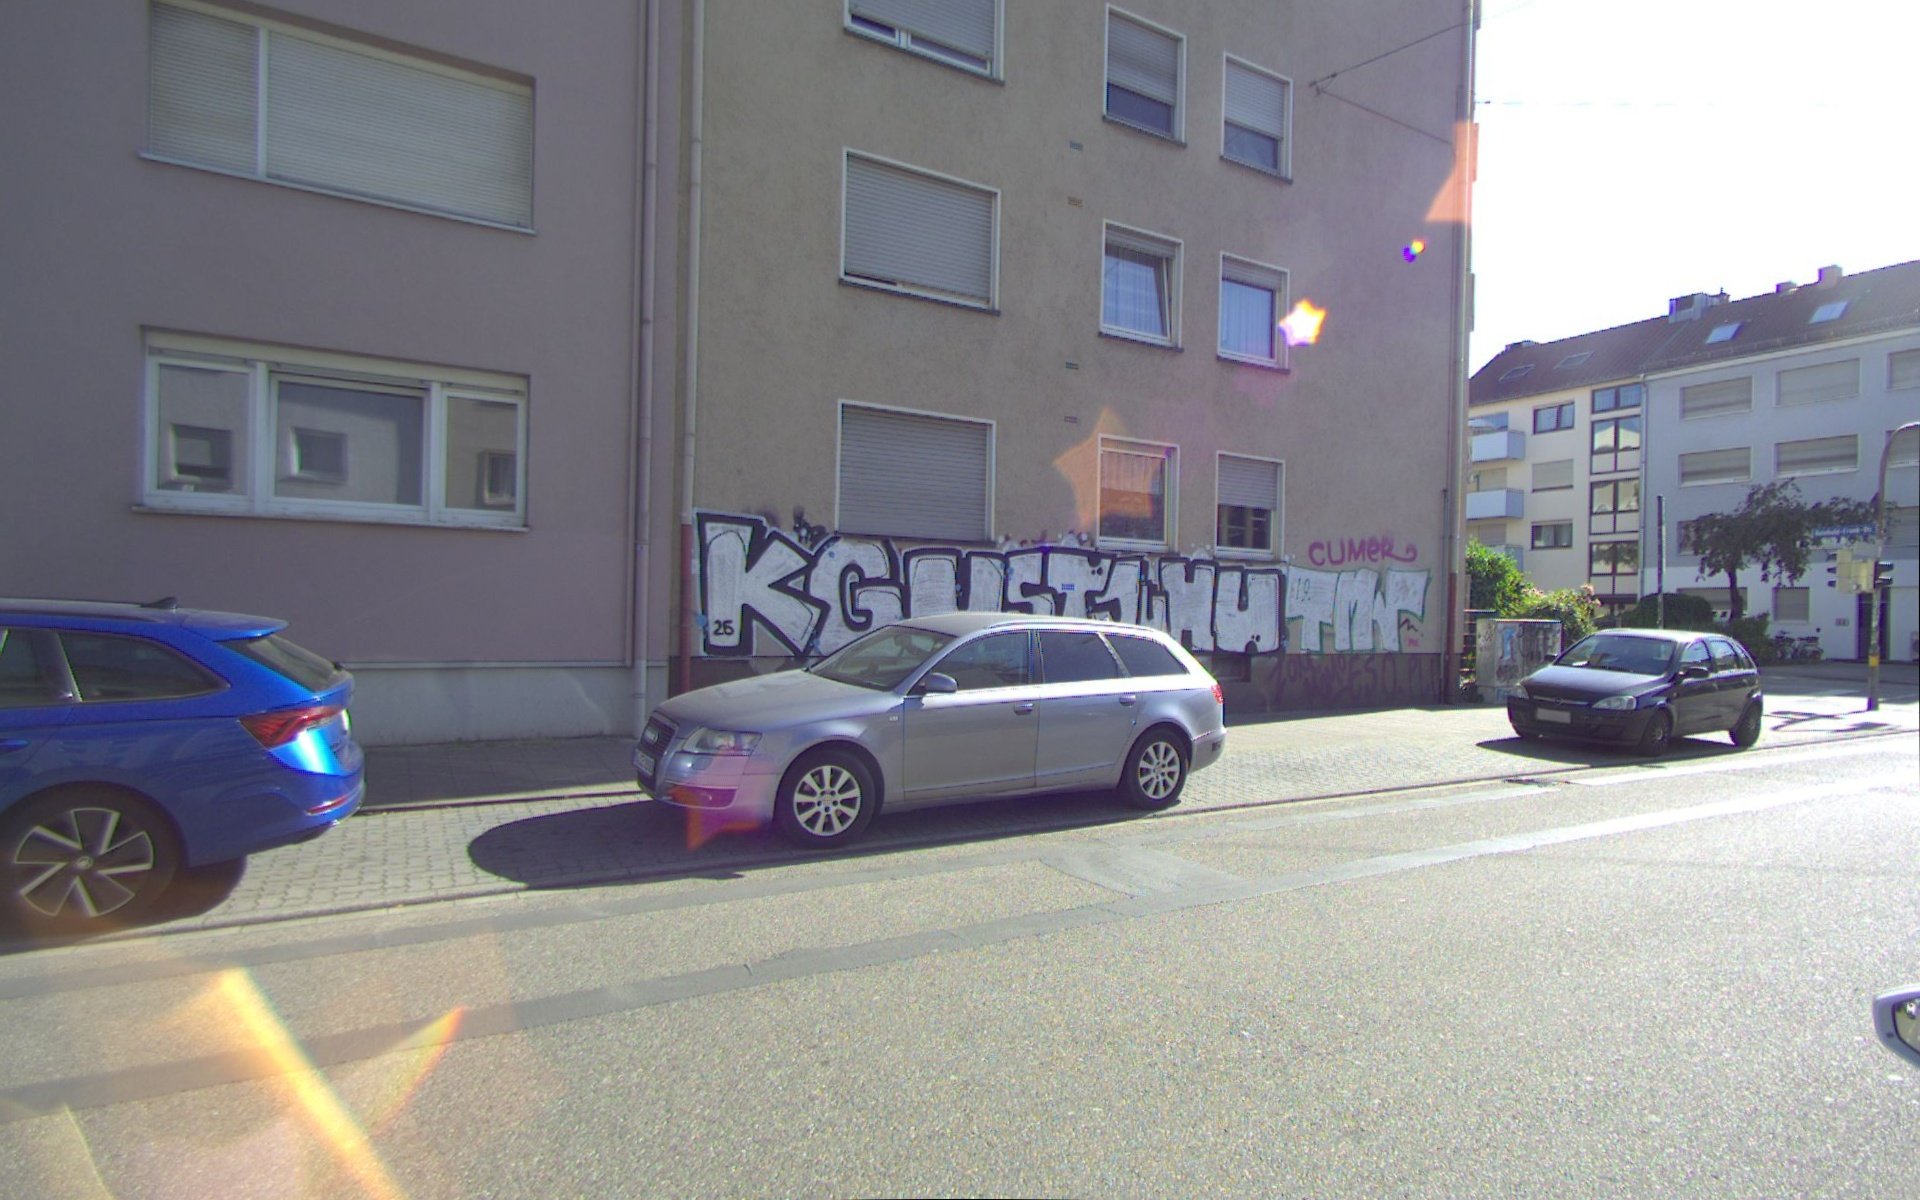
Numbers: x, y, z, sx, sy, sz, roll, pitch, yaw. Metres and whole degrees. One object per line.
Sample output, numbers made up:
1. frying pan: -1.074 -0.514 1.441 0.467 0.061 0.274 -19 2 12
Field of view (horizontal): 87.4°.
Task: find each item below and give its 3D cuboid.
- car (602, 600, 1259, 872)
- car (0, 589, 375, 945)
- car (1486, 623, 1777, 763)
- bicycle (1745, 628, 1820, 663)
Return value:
1. car: -0.075 0.827 7.663 4.759 1.485 1.708 1 1 -31
2. car: -5.343 0.700 4.597 4.559 1.485 1.709 1 2 -31
3. car: 8.586 1.087 12.802 3.667 1.444 1.608 1 2 -31
4. bicycle: 29.722 1.645 36.350 2.068 1.188 0.738 0 -1 37
